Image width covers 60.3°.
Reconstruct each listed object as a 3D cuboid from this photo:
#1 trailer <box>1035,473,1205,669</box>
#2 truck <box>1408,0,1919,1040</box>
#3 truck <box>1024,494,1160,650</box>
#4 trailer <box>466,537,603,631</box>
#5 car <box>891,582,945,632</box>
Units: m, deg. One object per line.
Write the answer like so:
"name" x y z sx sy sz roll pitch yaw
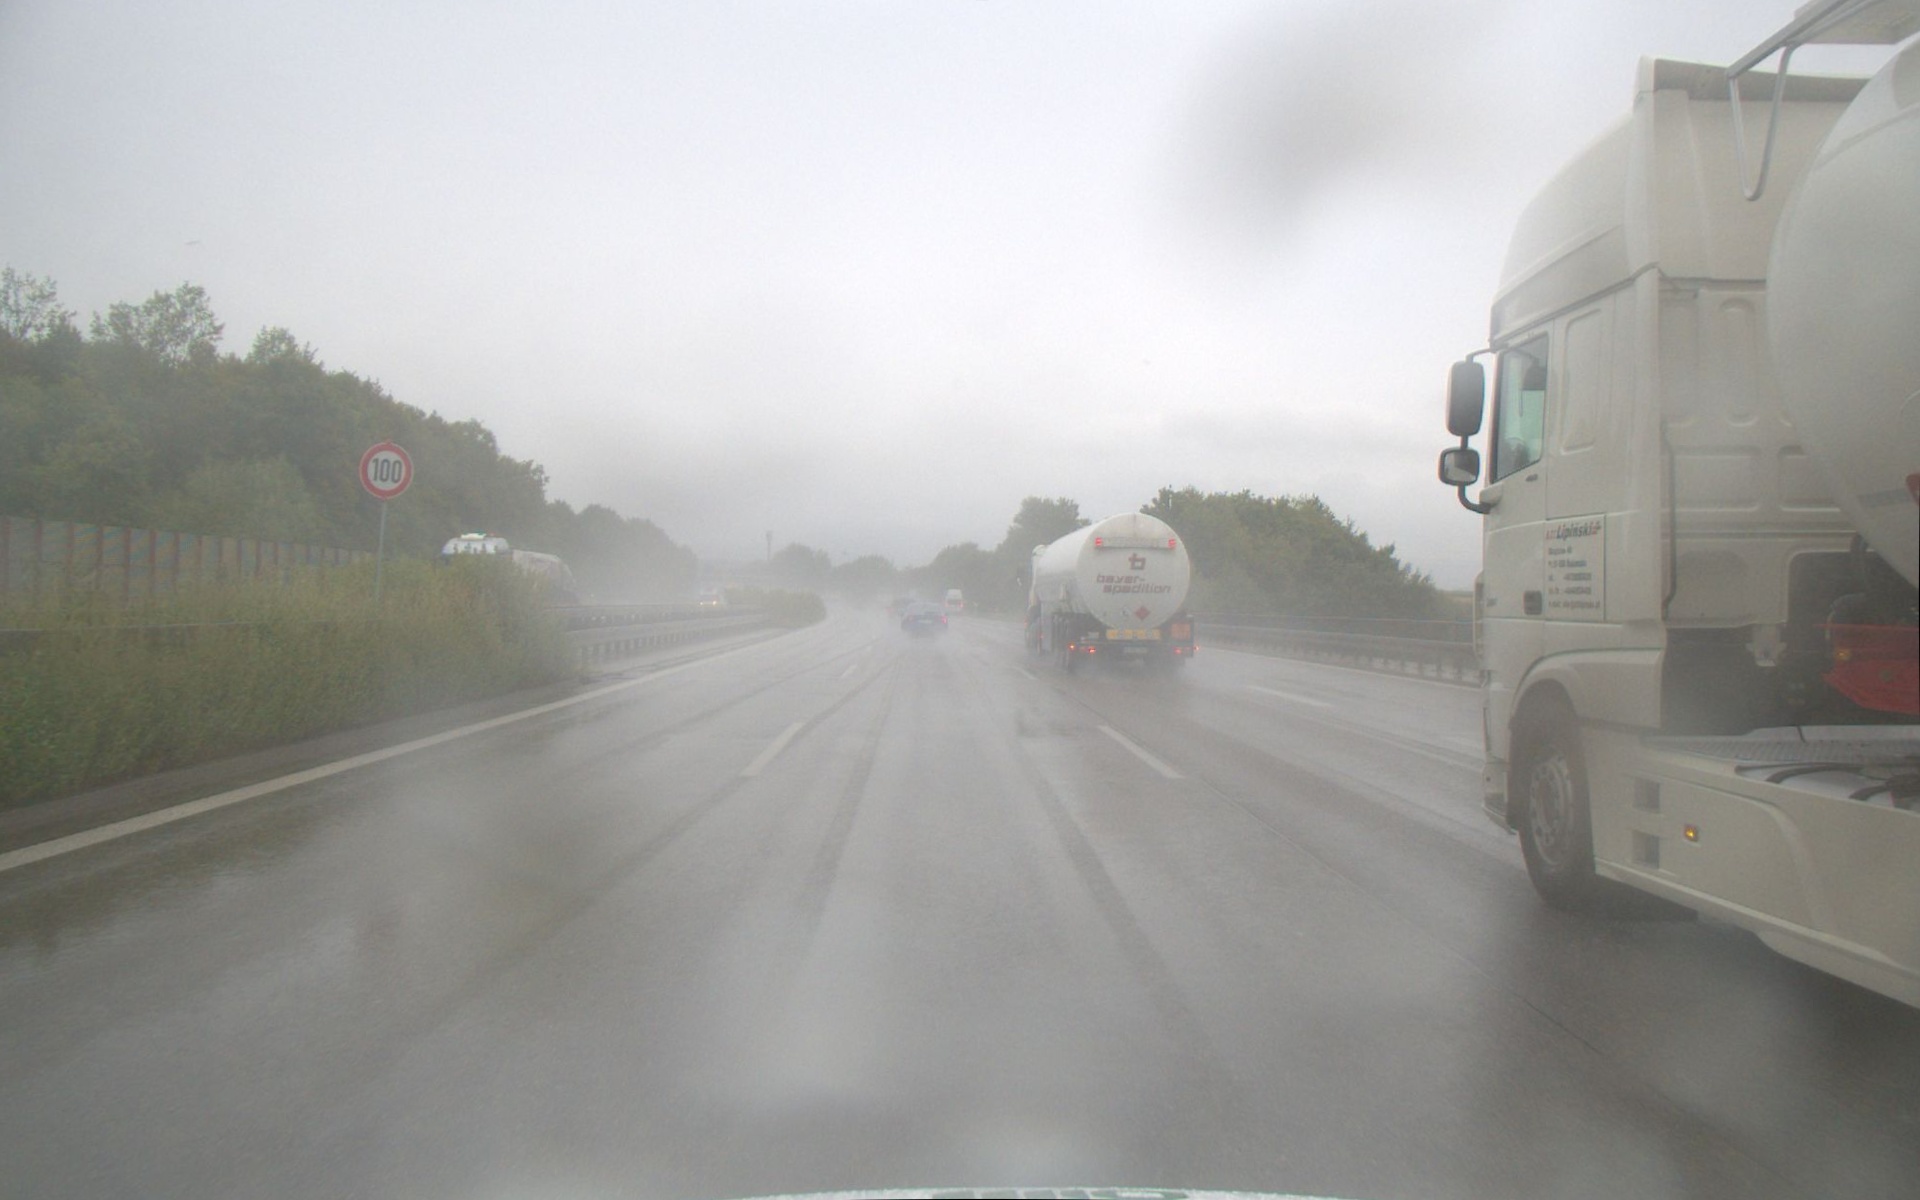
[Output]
"trailer" 3.427 -0.583 37.695 2.943 3.915 8.622 1 0 0
"truck" 4.450 -0.572 6.991 3.041 3.873 7.210 1 0 -1
"truck" 3.317 -0.678 43.167 2.884 3.749 6.360 1 0 -1
"trailer" -18.313 -0.620 72.271 3.010 3.676 13.564 1 0 -2
"car" -1.620 0.235 62.089 1.939 1.787 4.479 0 1 -3
